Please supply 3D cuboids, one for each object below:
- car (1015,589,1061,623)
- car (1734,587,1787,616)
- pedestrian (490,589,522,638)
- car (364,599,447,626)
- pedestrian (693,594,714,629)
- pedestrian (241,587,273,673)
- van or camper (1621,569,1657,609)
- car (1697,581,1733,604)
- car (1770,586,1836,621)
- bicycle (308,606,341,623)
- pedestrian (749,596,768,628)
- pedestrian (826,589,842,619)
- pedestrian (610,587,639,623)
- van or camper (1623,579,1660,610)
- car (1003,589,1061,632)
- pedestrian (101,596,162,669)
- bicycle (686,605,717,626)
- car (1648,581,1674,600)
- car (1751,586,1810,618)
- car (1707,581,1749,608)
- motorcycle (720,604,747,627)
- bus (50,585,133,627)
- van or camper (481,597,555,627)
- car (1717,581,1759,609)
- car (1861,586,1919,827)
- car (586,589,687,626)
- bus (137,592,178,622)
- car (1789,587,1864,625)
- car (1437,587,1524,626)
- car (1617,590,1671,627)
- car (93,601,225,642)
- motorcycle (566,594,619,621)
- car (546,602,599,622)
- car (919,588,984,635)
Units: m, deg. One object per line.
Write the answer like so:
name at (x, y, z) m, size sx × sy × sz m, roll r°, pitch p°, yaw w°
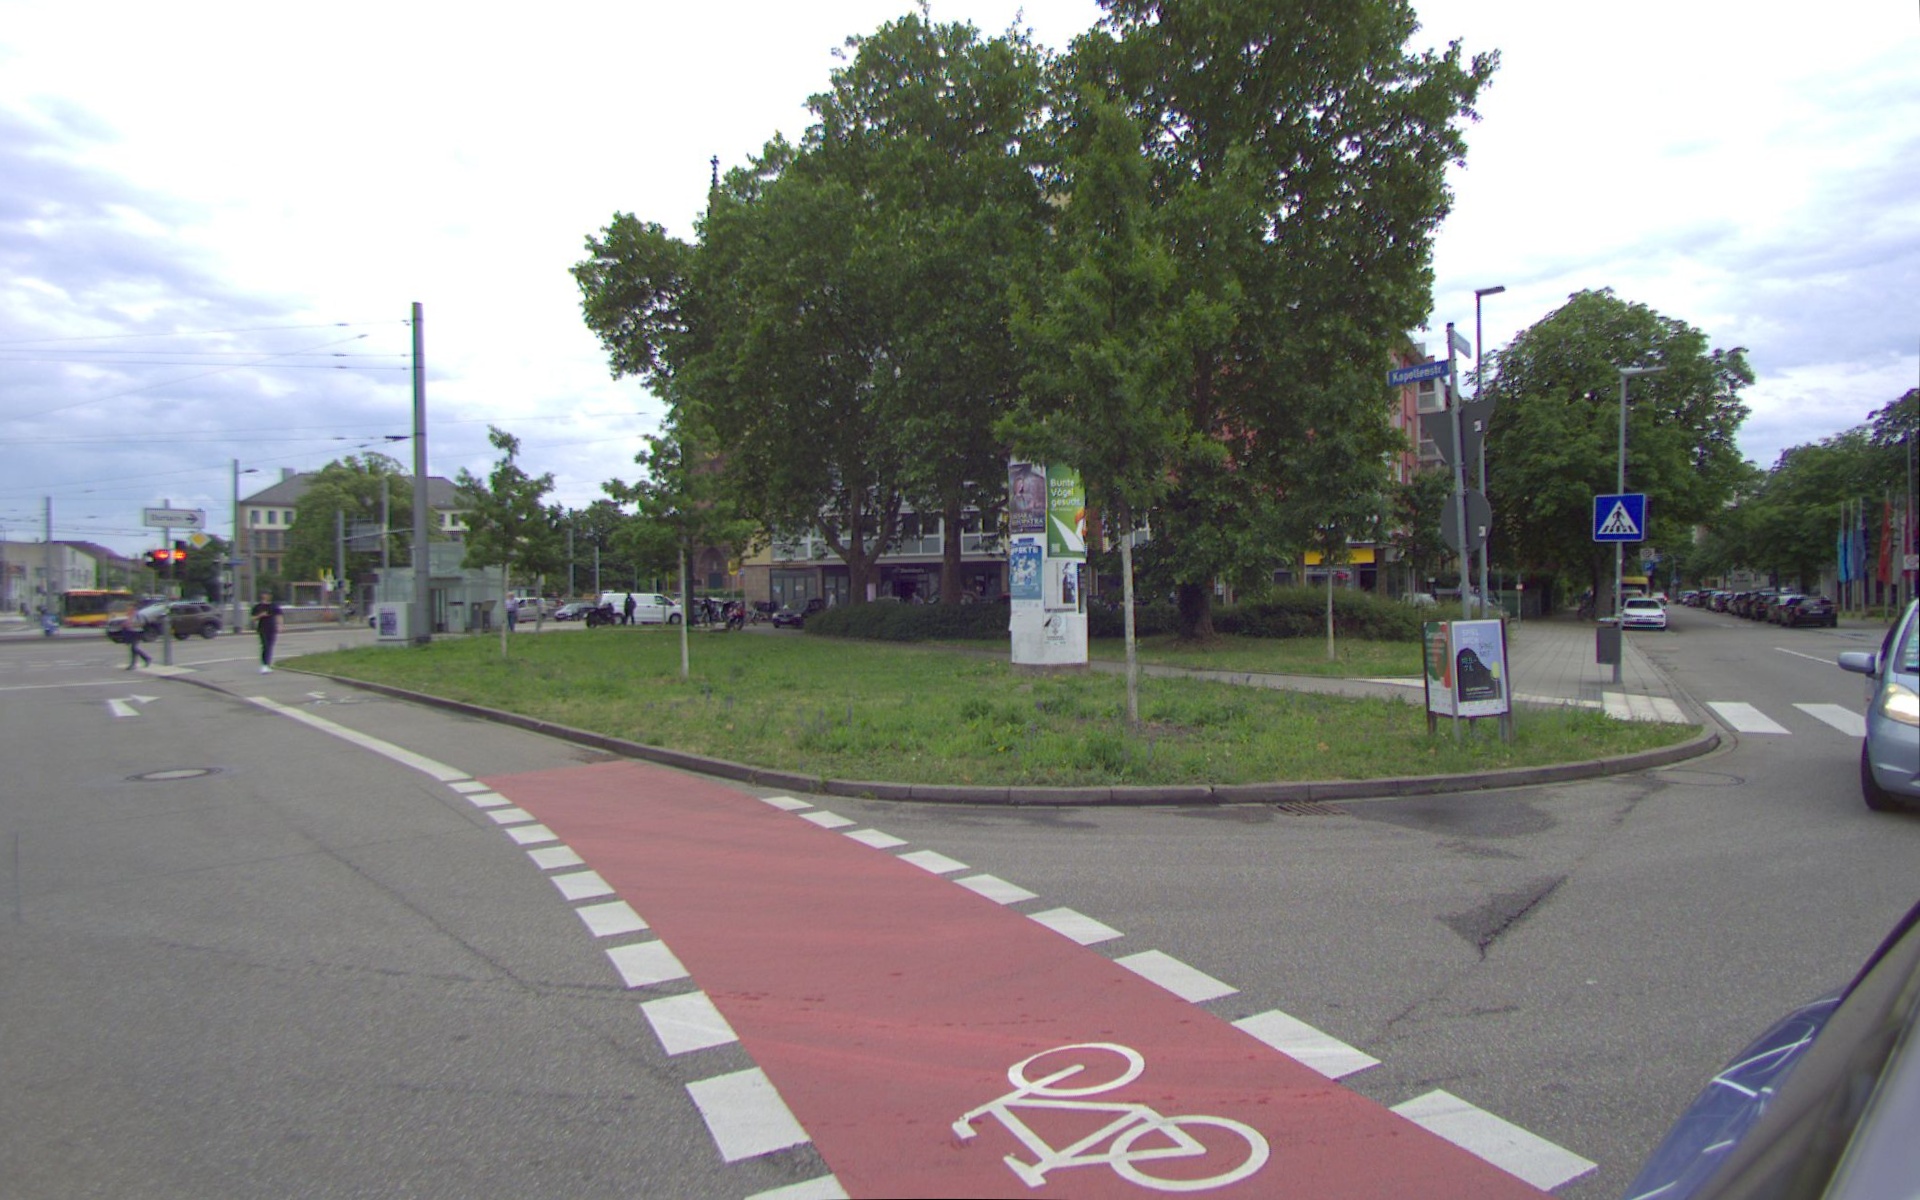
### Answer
car at (3.837, 0.281, 49.375) m, size 1.831 × 1.567 × 4.463 m, roll -1°, pitch 0°, yaw 10°
car at (48.381, 0.048, 61.257) m, size 1.845 × 1.644 × 4.428 m, roll -2°, pitch 0°, yaw 30°
pedestrian at (-18.357, 0.524, 40.917) m, size 0.872 × 1.955 × 1.018 m, roll -1°, pitch 0°, yaw -2°
car at (-31.438, 0.705, 57.514) m, size 1.673 × 1.413 × 4.376 m, roll -1°, pitch 0°, yaw 13°
pedestrian at (-12.318, 0.551, 48.611) m, size 0.628 × 1.659 × 0.868 m, roll -1°, pitch 0°, yaw 13°
pedestrian at (-15.738, 0.663, 22.668) m, size 0.526 × 1.867 × 0.987 m, roll -1°, pitch 0°, yaw -33°
van or camper at (48.949, -0.768, 73.015) m, size 1.985 × 2.807 × 3.953 m, roll -1°, pitch 0°, yaw 33°
car at (69.306, -0.698, 92.905) m, size 2.006 × 2.011 × 4.732 m, roll -2°, pitch 0°, yaw 30°
car at (43.707, 0.157, 52.547) m, size 1.845 × 1.644 × 4.428 m, roll -2°, pitch 0°, yaw 30°
bicycle at (-52.900, 1.176, 84.235) m, size 2.227 × 1.348 × 0.706 m, roll -2°, pitch -1°, yaw -37°
pedestrian at (-10.729, 0.637, 53.867) m, size 0.700 × 1.659 × 0.725 m, roll 0°, pitch -1°, yaw -37°
pedestrian at (-6.897, 0.207, 55.556) m, size 0.628 × 1.659 × 0.784 m, roll -1°, pitch 0°, yaw 12°
pedestrian at (-17.378, 0.264, 52.433) m, size 1.072 × 1.820 × 0.942 m, roll -2°, pitch -1°, yaw 15°
van or camper at (46.413, -0.392, 68.944) m, size 1.985 × 2.039 × 3.953 m, roll -1°, pitch 0°, yaw 33°
car at (2.853, 0.394, 39.453) m, size 1.831 × 1.567 × 4.463 m, roll -1°, pitch 0°, yaw 10°
pedestrian at (-22.387, 0.858, 27.356) m, size 0.722 × 1.931 × 1.103 m, roll -1°, pitch -1°, yaw 3°
bicycle at (-11.996, 0.717, 46.953) m, size 1.247 × 0.929 × 0.592 m, roll -1°, pitch 0°, yaw 16°
car at (80.053, -1.066, 115.587) m, size 2.006 × 2.011 × 4.732 m, roll -2°, pitch 0°, yaw 30°
car at (46.224, 0.098, 57.090) m, size 1.845 × 1.644 × 4.428 m, roll -2°, pitch 0°, yaw 30°
car at (61.171, -0.478, 80.645) m, size 2.006 × 2.011 × 4.732 m, roll -2°, pitch 0°, yaw 30°
motorcycle at (-10.142, 0.678, 45.306) m, size 0.857 × 1.010 × 1.015 m, roll -1°, pitch 0°, yaw -34°
bus at (-70.594, 0.494, 82.555) m, size 2.911 × 3.163 × 11.549 m, roll -1°, pitch 0°, yaw -29°
van or camper at (-31.717, 0.825, 72.764) m, size 2.163 × 2.039 × 5.133 m, roll -2°, pitch -1°, yaw 15°
car at (58.226, -0.407, 75.780) m, size 1.845 × 2.011 × 4.428 m, roll -2°, pitch 0°, yaw 30°
car at (7.815, 0.625, 7.393) m, size 1.747 × 1.485 × 4.037 m, roll -3°, pitch -1°, yaw 41°
car at (-19.926, 0.452, 62.407) m, size 5.621 × 2.039 × 2.030 m, roll -2°, pitch -1°, yaw -27°
bus at (-94.562, 0.777, 119.407) m, size 2.611 × 3.325 × 10.998 m, roll -1°, pitch 0°, yaw -33°
car at (40.687, 0.235, 47.621) m, size 1.845 × 1.644 × 4.428 m, roll -2°, pitch 0°, yaw 30°
car at (22.869, 0.241, 44.649) m, size 1.828 × 1.567 × 4.470 m, roll -1°, pitch 1°, yaw 5°
car at (31.169, 0.351, 46.227) m, size 1.847 × 1.567 × 4.425 m, roll 1°, pitch 1°, yaw 32°
car at (-34.663, 0.911, 43.913) m, size 1.782 × 1.661 × 4.198 m, roll -1°, pitch 0°, yaw 22°
motorcycle at (-16.268, 0.323, 44.824) m, size 0.759 × 1.183 × 2.366 m, roll -1°, pitch 0°, yaw 25°
car at (-30.184, 0.913, 78.927) m, size 1.750 × 1.483 × 3.979 m, roll -2°, pitch -1°, yaw 16°
car at (-0.268, 0.415, 39.915) m, size 1.831 × 1.744 × 4.463 m, roll -1°, pitch 0°, yaw 10°
